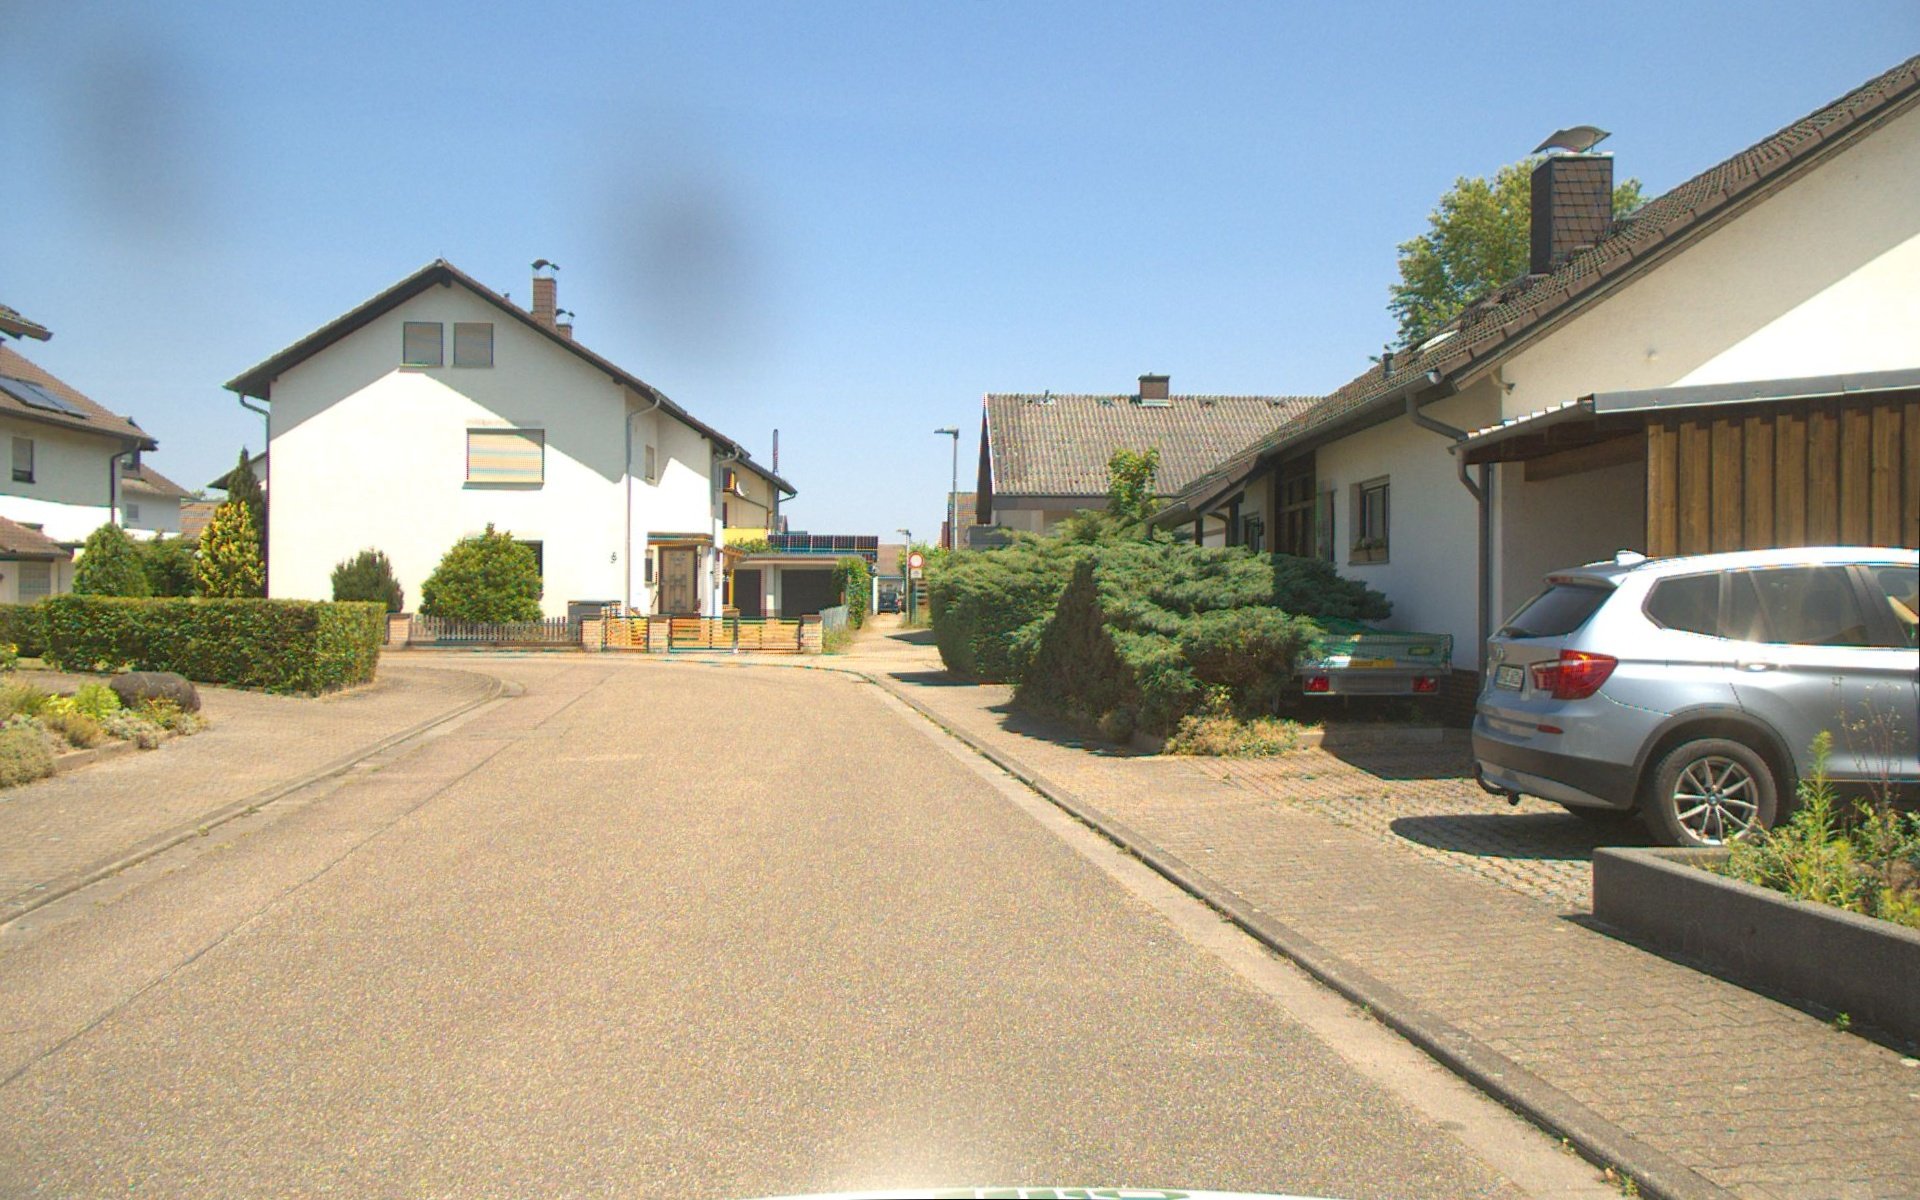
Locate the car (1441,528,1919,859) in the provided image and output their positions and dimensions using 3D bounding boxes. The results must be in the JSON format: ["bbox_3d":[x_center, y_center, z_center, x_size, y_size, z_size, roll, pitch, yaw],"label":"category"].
[{"bbox_3d":[5.364,0.470,9.759,4.531,1.732,1.710,-2,0,1],"label":"car"}]

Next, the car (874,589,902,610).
[{"bbox_3d":[-5.895,-0.037,135.156,2.149,1.731,3.806,0,0,-1],"label":"car"}]

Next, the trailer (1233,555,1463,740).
[{"bbox_3d":[3.957,0.424,17.333,1.555,1.701,3.296,-2,1,-1],"label":"trailer"}]
